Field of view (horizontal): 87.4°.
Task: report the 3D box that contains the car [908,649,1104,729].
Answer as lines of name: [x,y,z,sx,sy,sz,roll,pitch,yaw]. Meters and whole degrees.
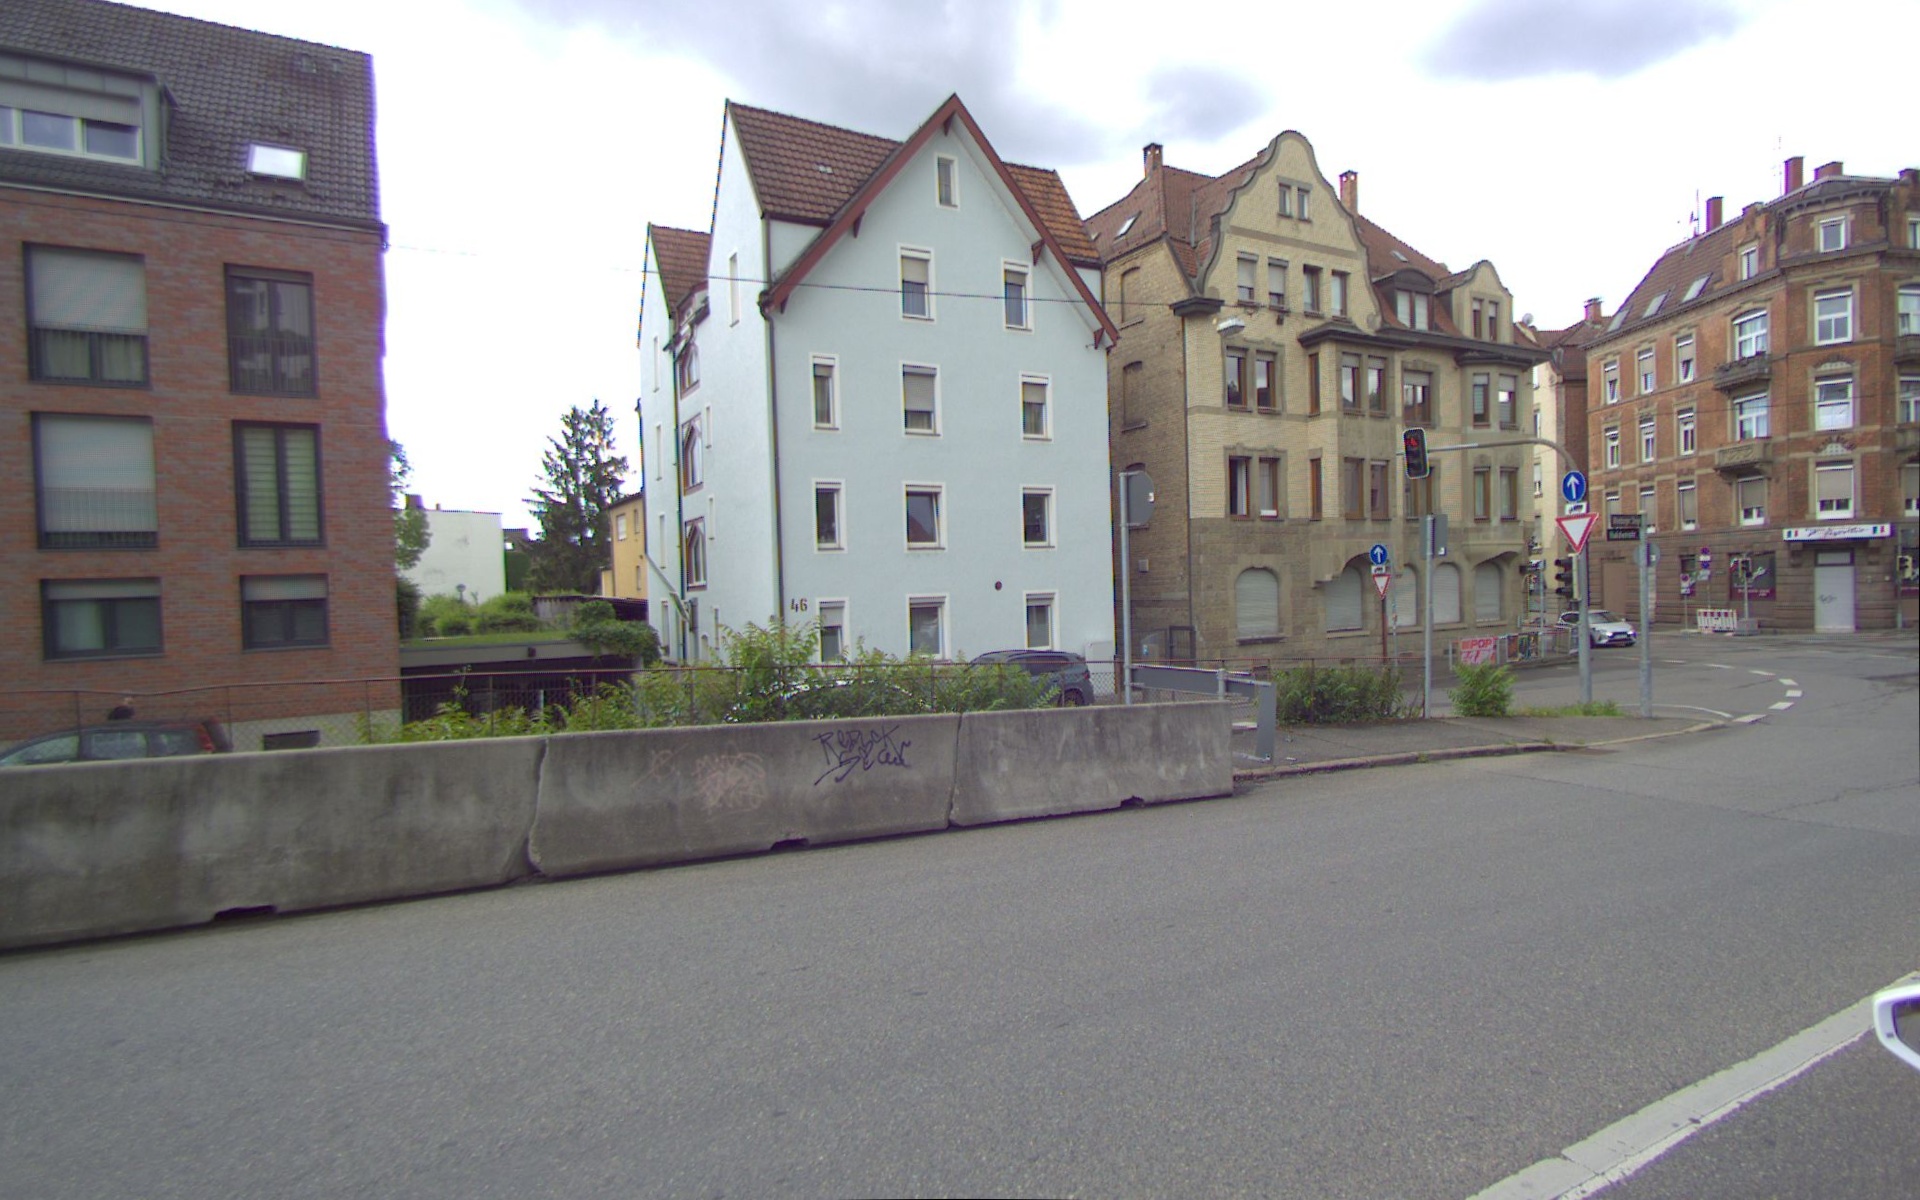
car: [1.065,1.922,22.578,4.184,1.575,1.674,1,-2,-31]

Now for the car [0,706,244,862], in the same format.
car: [-13.019,2.679,14.916,3.722,1.825,1.706,0,1,-30]

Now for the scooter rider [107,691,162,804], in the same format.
scooter rider: [-13.557,2.402,16.501,0.570,1.728,0.485,-2,2,-30]

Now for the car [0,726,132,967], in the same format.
car: [-8.544,1.867,7.112,3.956,1.534,1.526,1,0,-33]

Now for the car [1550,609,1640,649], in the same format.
car: [26.437,1.187,41.971,1.641,1.487,3.644,1,1,4]

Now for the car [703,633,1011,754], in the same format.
car: [-1.541,1.326,15.478,4.371,1.534,1.819,1,0,-30]
